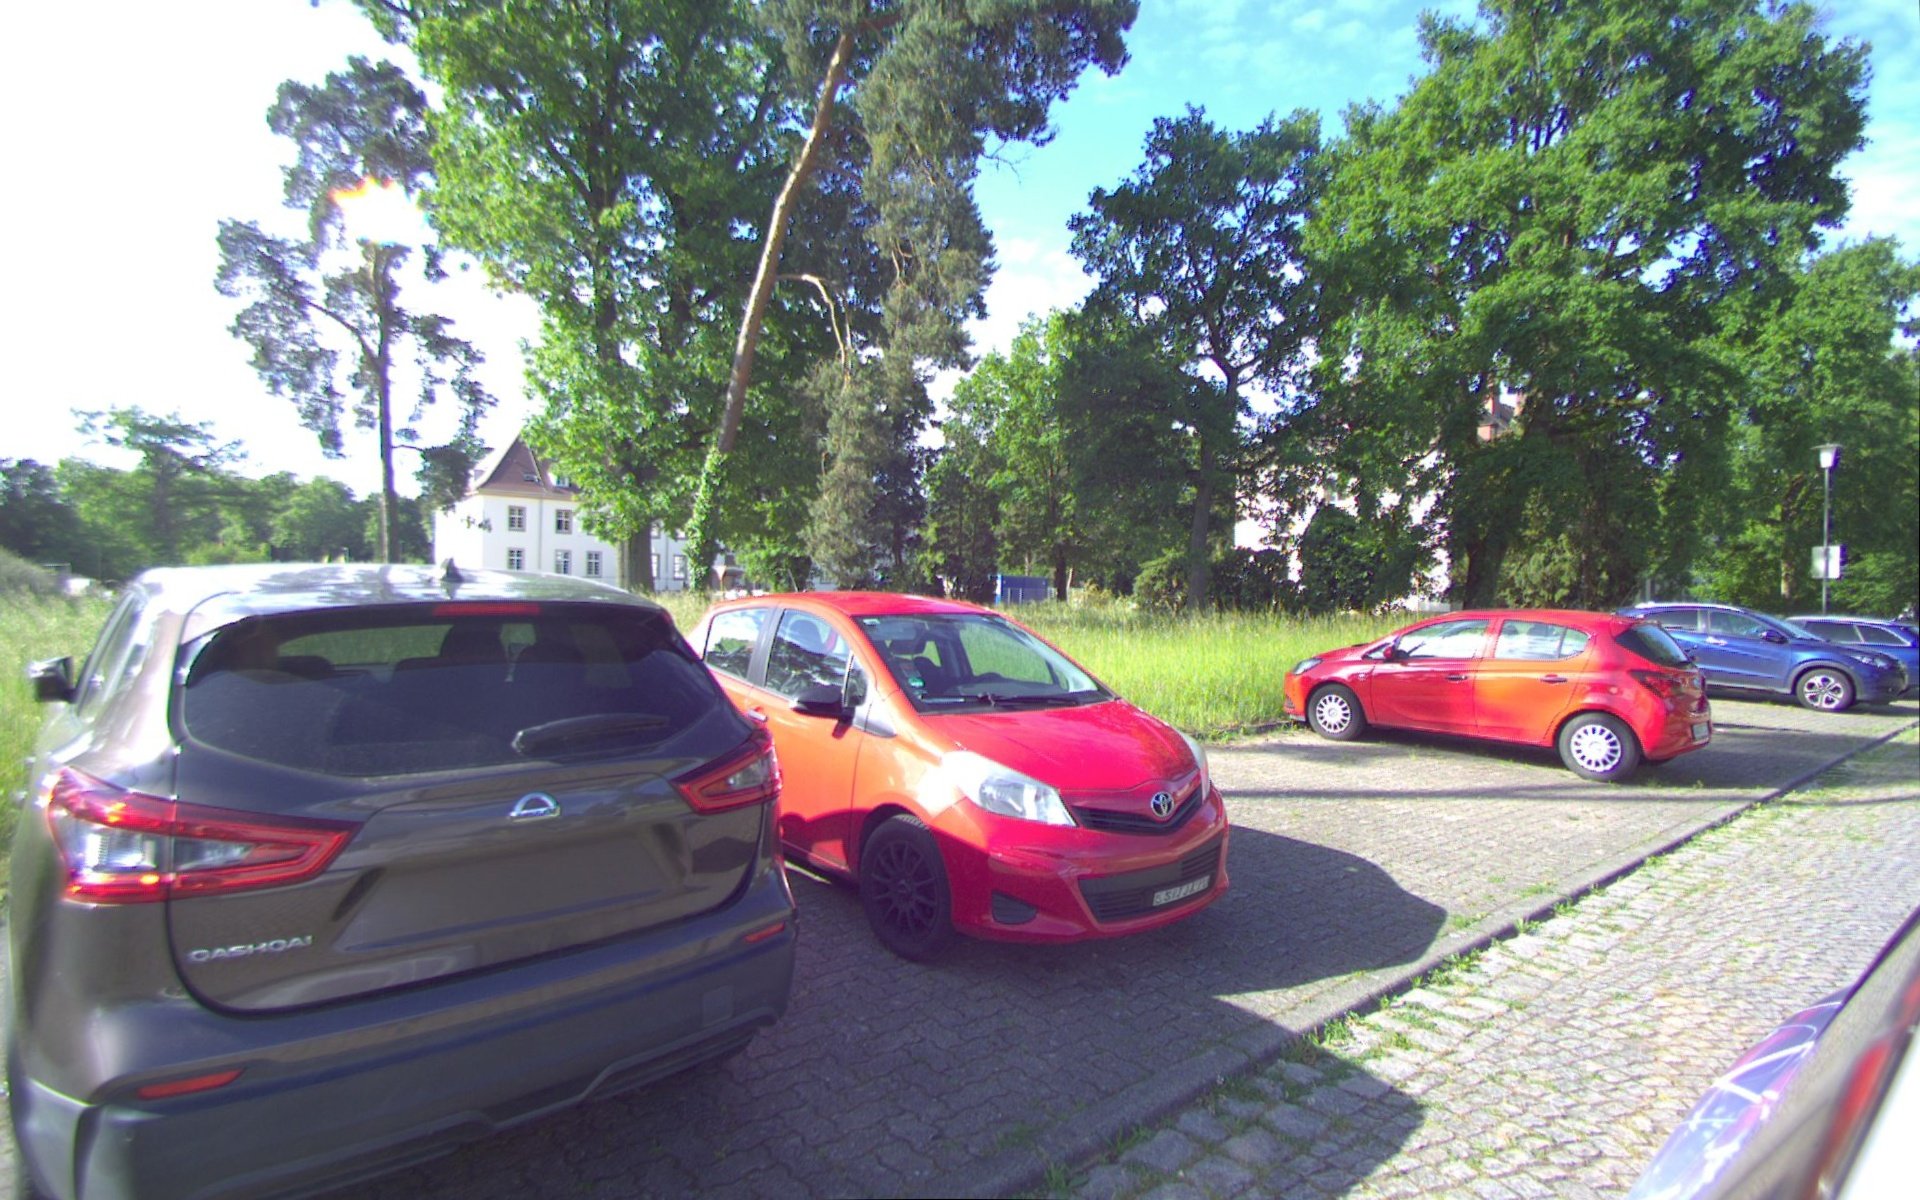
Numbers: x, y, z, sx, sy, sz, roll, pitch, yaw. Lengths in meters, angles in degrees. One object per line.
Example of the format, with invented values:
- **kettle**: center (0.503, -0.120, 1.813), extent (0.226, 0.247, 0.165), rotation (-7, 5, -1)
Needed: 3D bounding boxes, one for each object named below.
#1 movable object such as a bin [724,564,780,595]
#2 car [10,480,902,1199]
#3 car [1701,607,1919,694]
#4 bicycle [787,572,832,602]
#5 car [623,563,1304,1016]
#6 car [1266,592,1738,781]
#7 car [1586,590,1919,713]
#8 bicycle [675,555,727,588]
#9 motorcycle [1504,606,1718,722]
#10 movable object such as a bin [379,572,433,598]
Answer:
- **movable object such as a bin**: center (-20.541, -2.012, 100.111), extent (4.974, 2.937, 2.182), rotation (1, 1, -33)
- **car**: center (-2.178, 0.577, 3.722), extent (1.755, 1.631, 4.114), rotation (1, 1, -41)
- **car**: center (16.861, 0.909, 19.552), extent (1.715, 1.485, 3.809), rotation (1, 0, -39)
- **bicycle**: center (-10.304, -0.900, 69.414), extent (3.077, 2.038, 0.952), rotation (-2, 2, -42)
- **car**: center (-0.302, 0.617, 5.565), extent (1.673, 1.558, 3.834), rotation (1, 1, -39)
- **car**: center (5.312, 0.705, 10.363), extent (1.513, 1.514, 3.995), rotation (1, 0, -40)
- **car**: center (13.099, 0.738, 16.804), extent (1.622, 1.618, 4.272), rotation (1, 2, -40)
- **bicycle**: center (-16.258, -1.804, 63.673), extent (3.077, 2.038, 0.952), rotation (-2, 2, -42)
- **motorcycle**: center (8.618, 0.789, 13.506), extent (0.863, 1.370, 2.235), rotation (1, 0, -38)
- **movable object such as a bin**: center (-46.385, -1.236, 84.647), extent (5.713, 2.039, 2.092), rotation (2, 1, 41)
